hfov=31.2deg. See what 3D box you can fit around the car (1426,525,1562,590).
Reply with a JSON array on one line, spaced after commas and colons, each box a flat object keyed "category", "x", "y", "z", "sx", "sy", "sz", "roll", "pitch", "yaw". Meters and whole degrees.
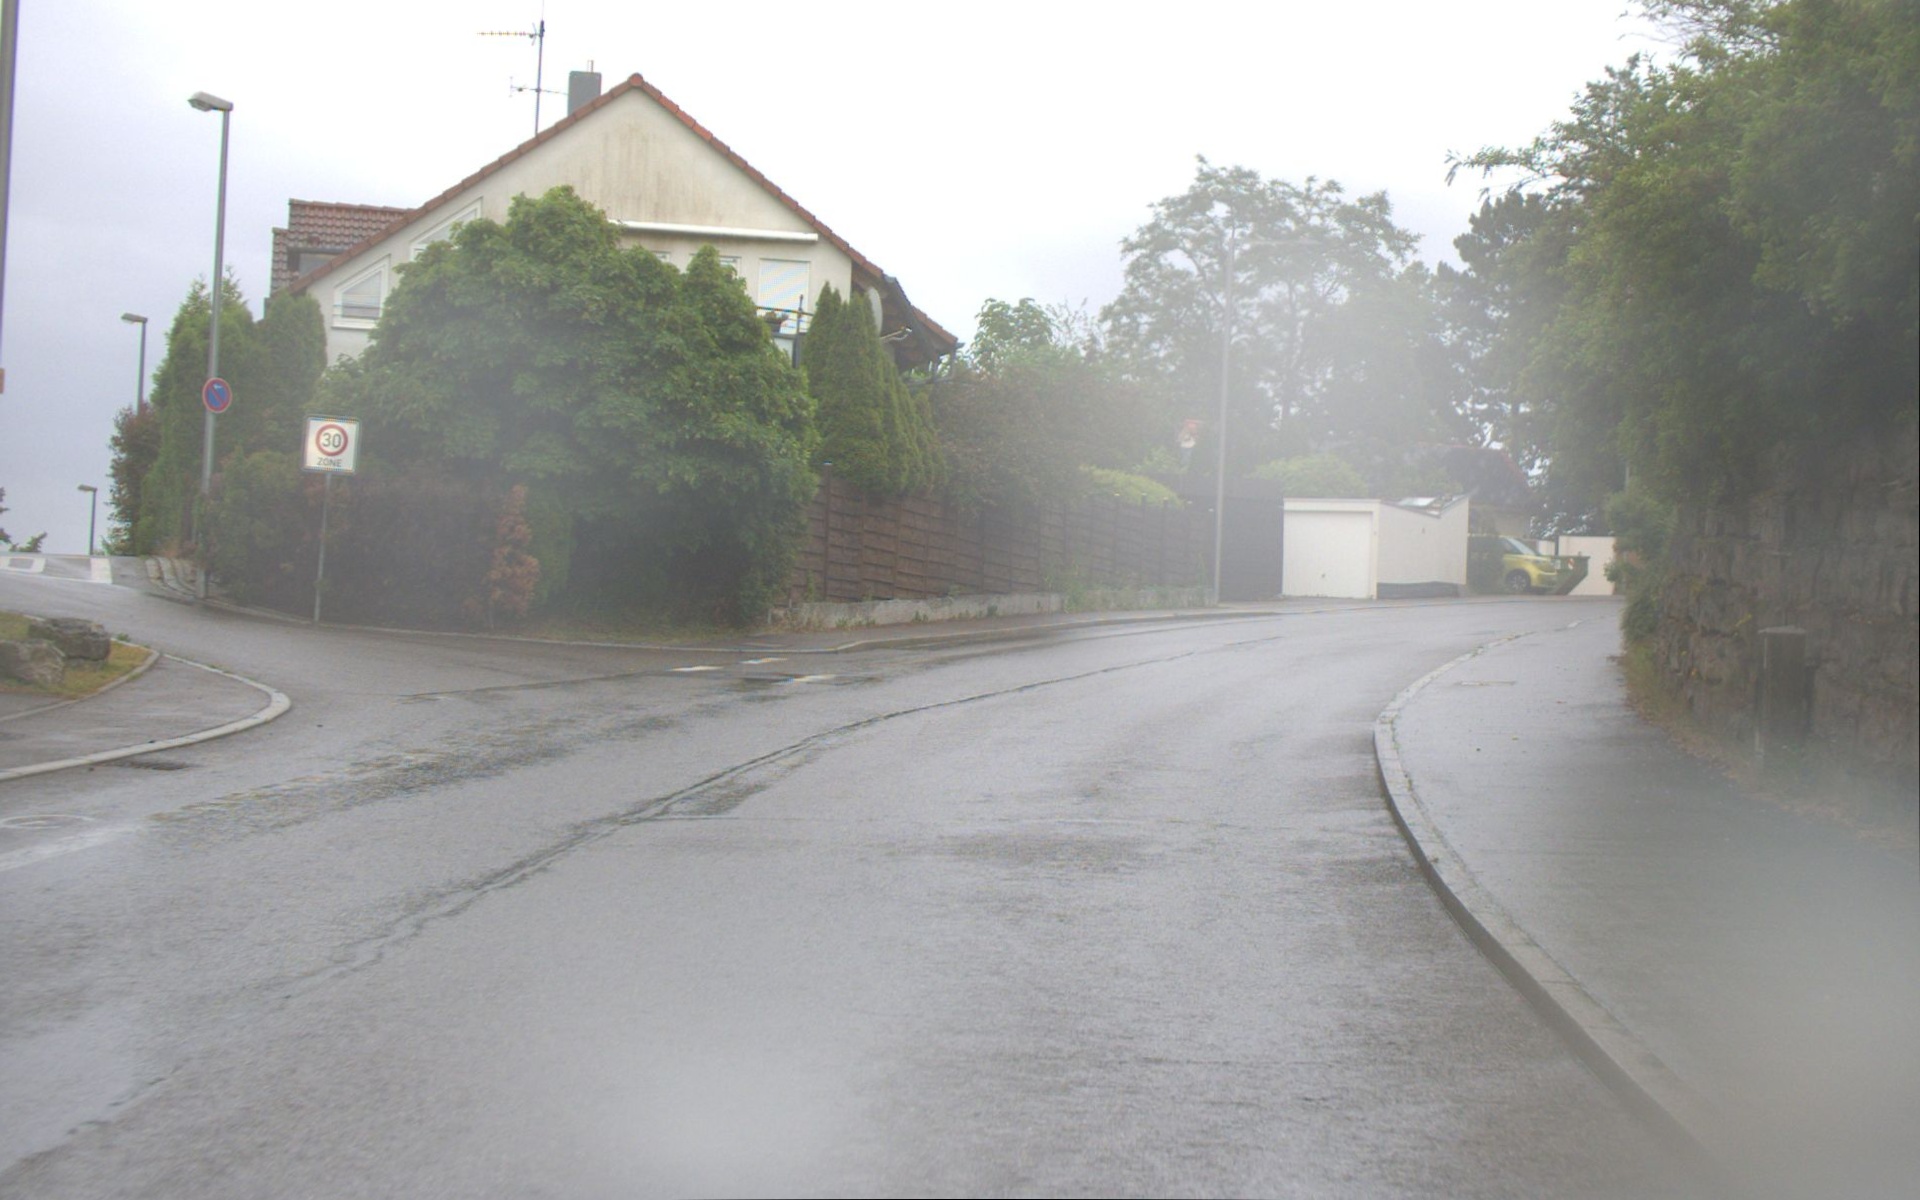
[{"category": "car", "x": 16.580, "y": -1.320, "z": 106.821, "sx": 3.839, "sy": 1.901, "sz": 1.534, "roll": 3, "pitch": 1, "yaw": 28}]
